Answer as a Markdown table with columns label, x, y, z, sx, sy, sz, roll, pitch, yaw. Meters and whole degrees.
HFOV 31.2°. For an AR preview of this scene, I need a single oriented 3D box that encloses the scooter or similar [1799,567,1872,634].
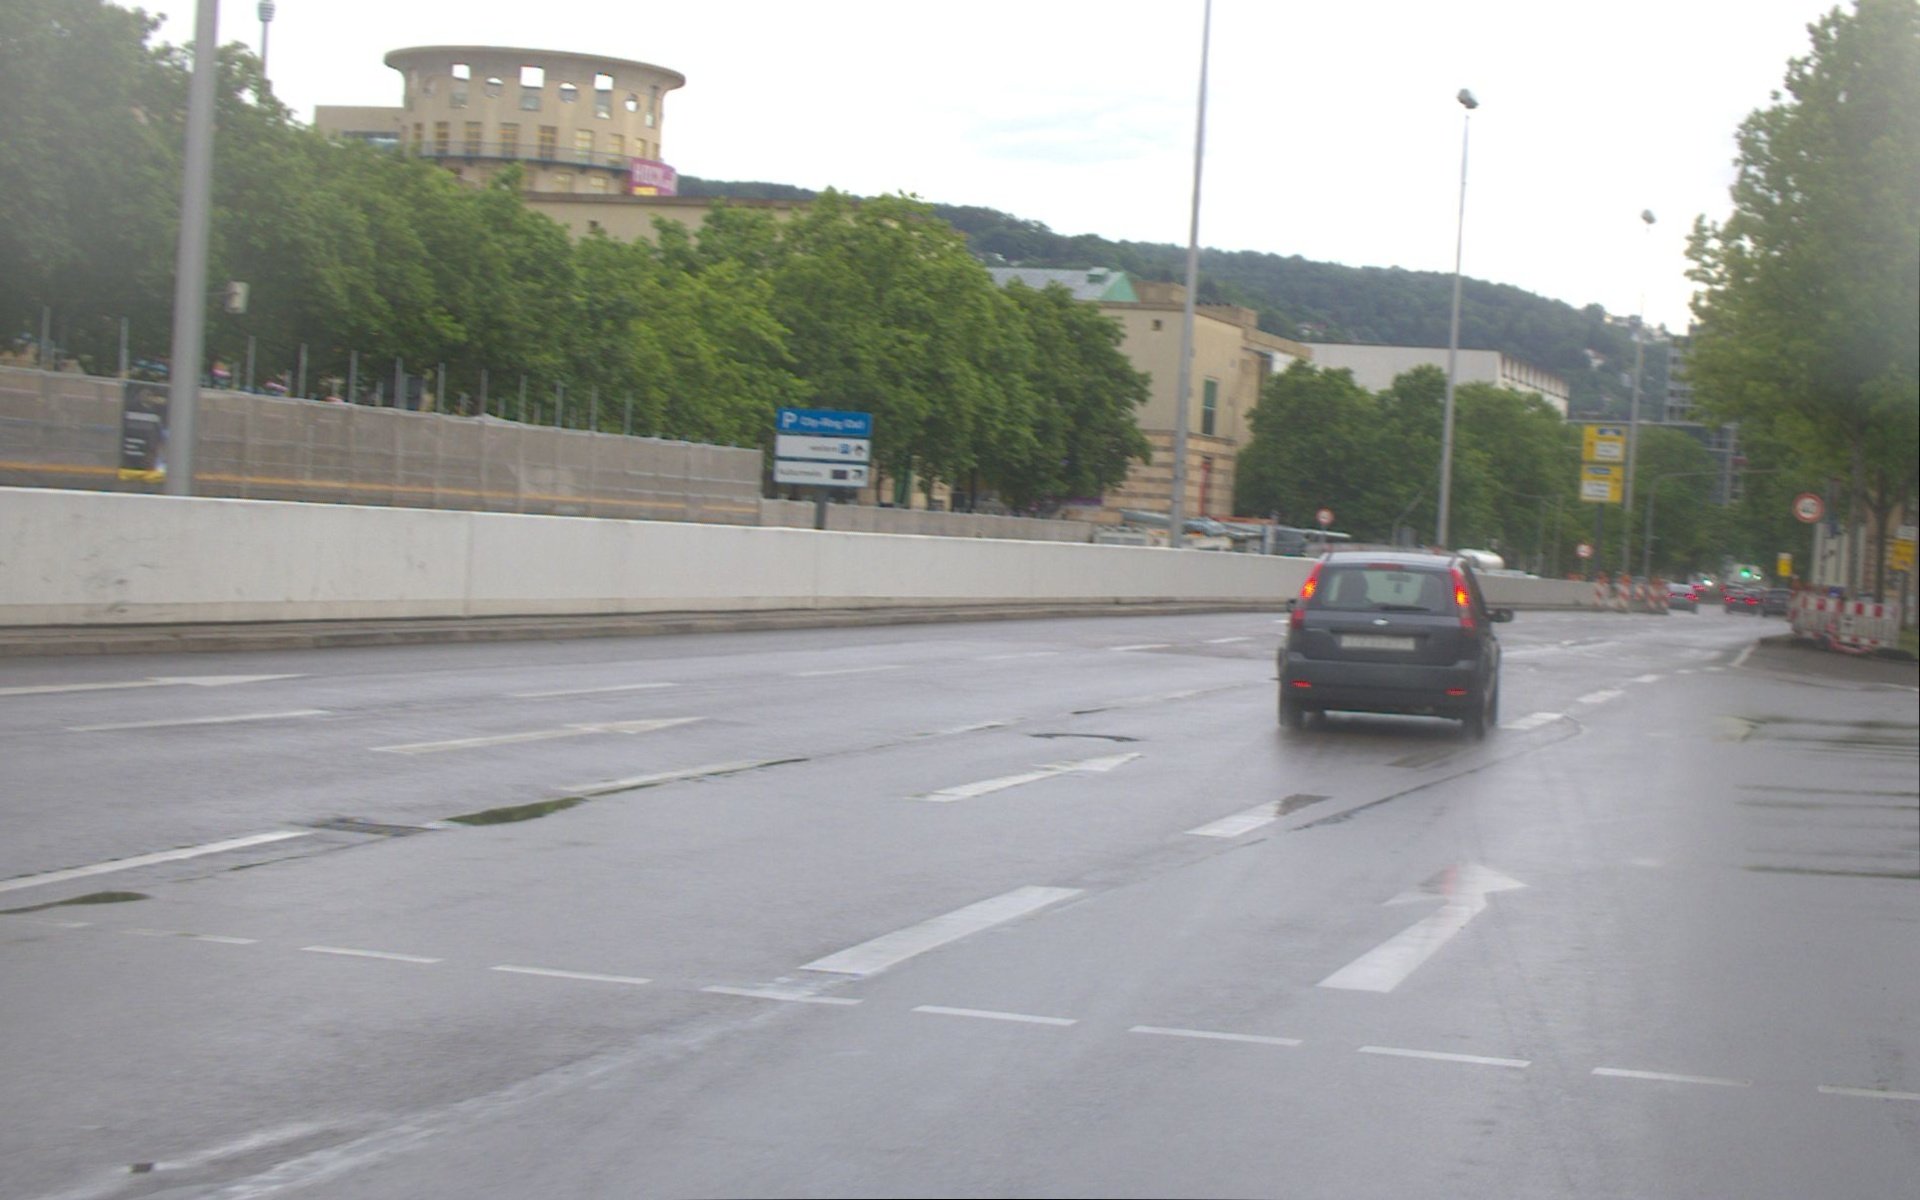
| label | x | y | z | sx | sy | sz | roll | pitch | yaw |
| --- | --- | --- | --- | --- | --- | --- | --- | --- | --- |
| scooter or similar | 18.641 | 0.020 | 73.226 | 1.357 | 1.281 | 0.618 | 6 | 0 | 18 |

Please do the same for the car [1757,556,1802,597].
| label | x | y | z | sx | sy | sz | roll | pitch | yaw |
| --- | --- | --- | --- | --- | --- | --- | --- | --- | --- |
| car | 43.916 | -1.286 | 184.167 | 1.995 | 2.006 | 3.997 | 5 | 2 | 16 |

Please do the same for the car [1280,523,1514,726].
| label | x | y | z | sx | sy | sz | roll | pitch | yaw |
| --- | --- | --- | --- | --- | --- | --- | --- | --- | --- |
| car | 3.610 | 0.169 | 28.093 | 1.670 | 1.422 | 3.756 | 4 | 1 | 9 |

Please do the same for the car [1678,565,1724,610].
| label | x | y | z | sx | sy | sz | roll | pitch | yaw |
| --- | --- | --- | --- | --- | --- | --- | --- | --- | --- |
| car | 37.086 | -0.601 | 172.153 | 1.995 | 2.007 | 3.998 | 6 | 0 | 11 |

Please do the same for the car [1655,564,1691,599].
| label | x | y | z | sx | sy | sz | roll | pitch | yaw |
| --- | --- | --- | --- | --- | --- | --- | --- | --- | --- |
| car | 29.597 | -0.751 | 142.690 | 1.386 | 1.381 | 3.065 | 3 | 1 | 12 |
